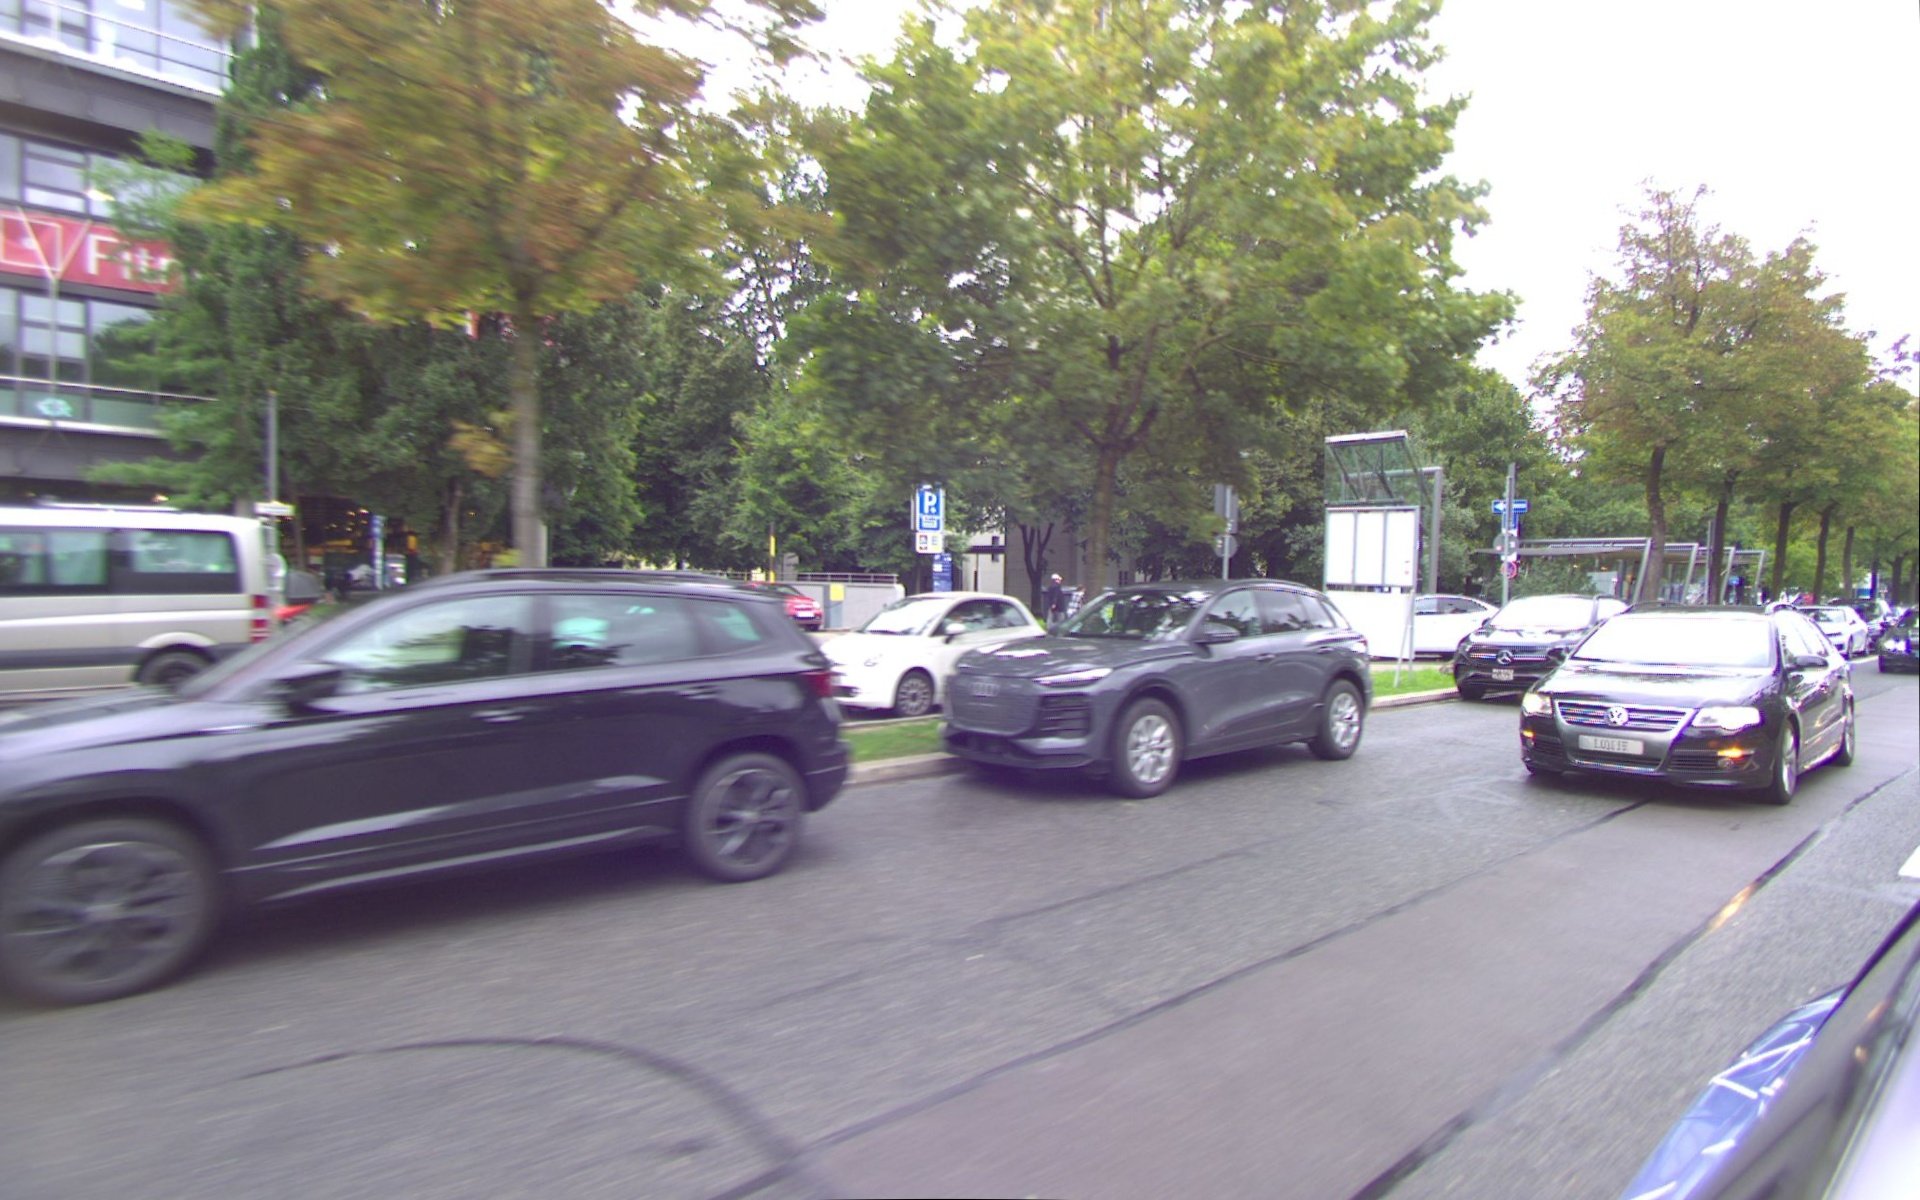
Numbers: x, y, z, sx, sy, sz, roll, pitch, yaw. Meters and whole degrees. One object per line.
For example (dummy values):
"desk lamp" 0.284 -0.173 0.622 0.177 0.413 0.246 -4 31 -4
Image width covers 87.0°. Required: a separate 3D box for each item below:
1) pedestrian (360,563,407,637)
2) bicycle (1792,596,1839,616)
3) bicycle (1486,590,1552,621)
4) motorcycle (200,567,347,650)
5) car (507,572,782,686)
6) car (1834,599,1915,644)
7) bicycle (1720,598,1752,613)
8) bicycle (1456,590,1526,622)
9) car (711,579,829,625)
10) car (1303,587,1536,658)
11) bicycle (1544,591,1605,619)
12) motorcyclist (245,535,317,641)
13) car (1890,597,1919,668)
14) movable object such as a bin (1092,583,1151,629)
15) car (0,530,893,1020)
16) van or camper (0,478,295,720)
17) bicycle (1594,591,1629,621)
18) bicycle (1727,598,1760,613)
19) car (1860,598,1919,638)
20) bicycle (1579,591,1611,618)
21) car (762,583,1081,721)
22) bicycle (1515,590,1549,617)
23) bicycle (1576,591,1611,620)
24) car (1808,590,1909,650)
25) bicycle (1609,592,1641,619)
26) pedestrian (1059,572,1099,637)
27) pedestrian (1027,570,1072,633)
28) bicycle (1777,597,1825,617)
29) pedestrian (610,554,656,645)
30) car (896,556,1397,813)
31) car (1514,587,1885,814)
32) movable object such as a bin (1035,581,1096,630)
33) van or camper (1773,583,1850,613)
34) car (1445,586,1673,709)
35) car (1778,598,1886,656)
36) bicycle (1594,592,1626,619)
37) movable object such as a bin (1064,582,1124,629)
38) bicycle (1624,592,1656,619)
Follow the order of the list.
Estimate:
"pedestrian" -10.659 -0.005 18.717 0.685 1.306 0.735 0 4 -36
"bicycle" 58.736 0.391 69.517 0.520 1.171 2.344 1 3 -40
"bicycle" 25.252 0.226 45.795 0.636 1.296 2.547 0 1 -40
"motorcycle" -11.847 0.137 17.499 2.030 1.306 0.698 0 5 -41
"car" -5.204 0.405 16.900 3.929 1.671 1.998 0 1 -40
"car" 31.883 0.700 35.240 4.230 1.457 1.636 0 1 -42
"bicycle" 64.105 0.447 83.604 2.088 1.168 0.718 1 1 0
"bicycle" 22.410 0.242 42.786 0.636 1.296 2.547 0 1 -40
"car" -5.191 0.030 27.446 1.536 1.166 3.443 0 0 -43
"car" 11.086 0.523 24.619 4.752 1.645 1.975 0 0 -2
"bicycle" 30.235 0.223 49.846 2.534 1.296 0.486 2 1 36
"motorcyclist" -11.756 -0.215 17.515 0.936 1.757 0.693 0 5 -40
"car" 21.916 0.687 22.111 4.589 1.447 1.818 0 1 -40
"movable object such as a bin" 5.190 0.166 32.572 1.292 1.427 1.338 0 1 -42
"car" -2.608 0.581 5.063 4.308 1.672 1.726 0 1 -38
"van or camper" -11.114 -0.037 11.416 5.851 2.590 1.998 0 1 -40
"bicycle" 29.755 0.266 46.218 2.505 1.296 0.646 0 1 -41
"bicycle" 64.078 0.447 82.798 2.088 1.168 0.718 1 1 0
"car" 37.062 0.671 40.066 4.006 1.472 1.637 0 1 -41
"bicycle" 32.261 0.215 51.421 2.505 1.296 0.646 0 1 -41
"car" -0.385 0.571 13.040 3.933 1.507 1.765 0 -1 -43
"bicycle" 27.591 0.162 48.822 2.505 1.296 0.605 0 1 -41
"bicycle" 29.317 0.248 46.791 2.505 1.296 0.646 0 1 -41
"car" 27.847 0.563 31.325 4.515 1.696 1.790 0 1 -41
"bicycle" 33.093 0.261 50.373 2.505 1.296 0.646 0 1 -41
"pedestrian" 3.276 0.107 27.854 0.970 1.742 0.540 0 3 -40
"pedestrian" 2.556 0.024 28.953 0.923 1.742 0.830 0 3 -40
"bicycle" 56.071 0.471 67.483 0.520 1.171 2.344 1 3 -40
"pedestrian" -6.484 -0.011 20.074 0.718 1.773 0.577 0 1 -36
"car" 1.864 0.545 8.990 4.734 1.722 1.765 0 1 -40
"car" 6.656 0.654 8.883 4.591 1.493 1.750 0 0 -42
"movable object such as a bin" 3.206 0.164 30.814 1.292 1.427 1.338 0 1 -42
"van or camper" 68.007 -0.130 80.861 6.069 2.325 2.153 1 1 -23
"car" 9.271 0.613 15.509 4.376 1.609 1.764 0 1 -42
"car" 24.003 0.681 27.810 4.405 1.452 1.656 0 1 -41
"bicycle" 32.768 0.257 50.969 2.505 1.296 0.646 0 1 -41
"movable object such as a bin" 4.197 0.164 31.697 1.292 1.427 1.338 0 1 -42
"bicycle" 33.521 0.265 49.855 2.505 1.296 0.646 0 1 -41
